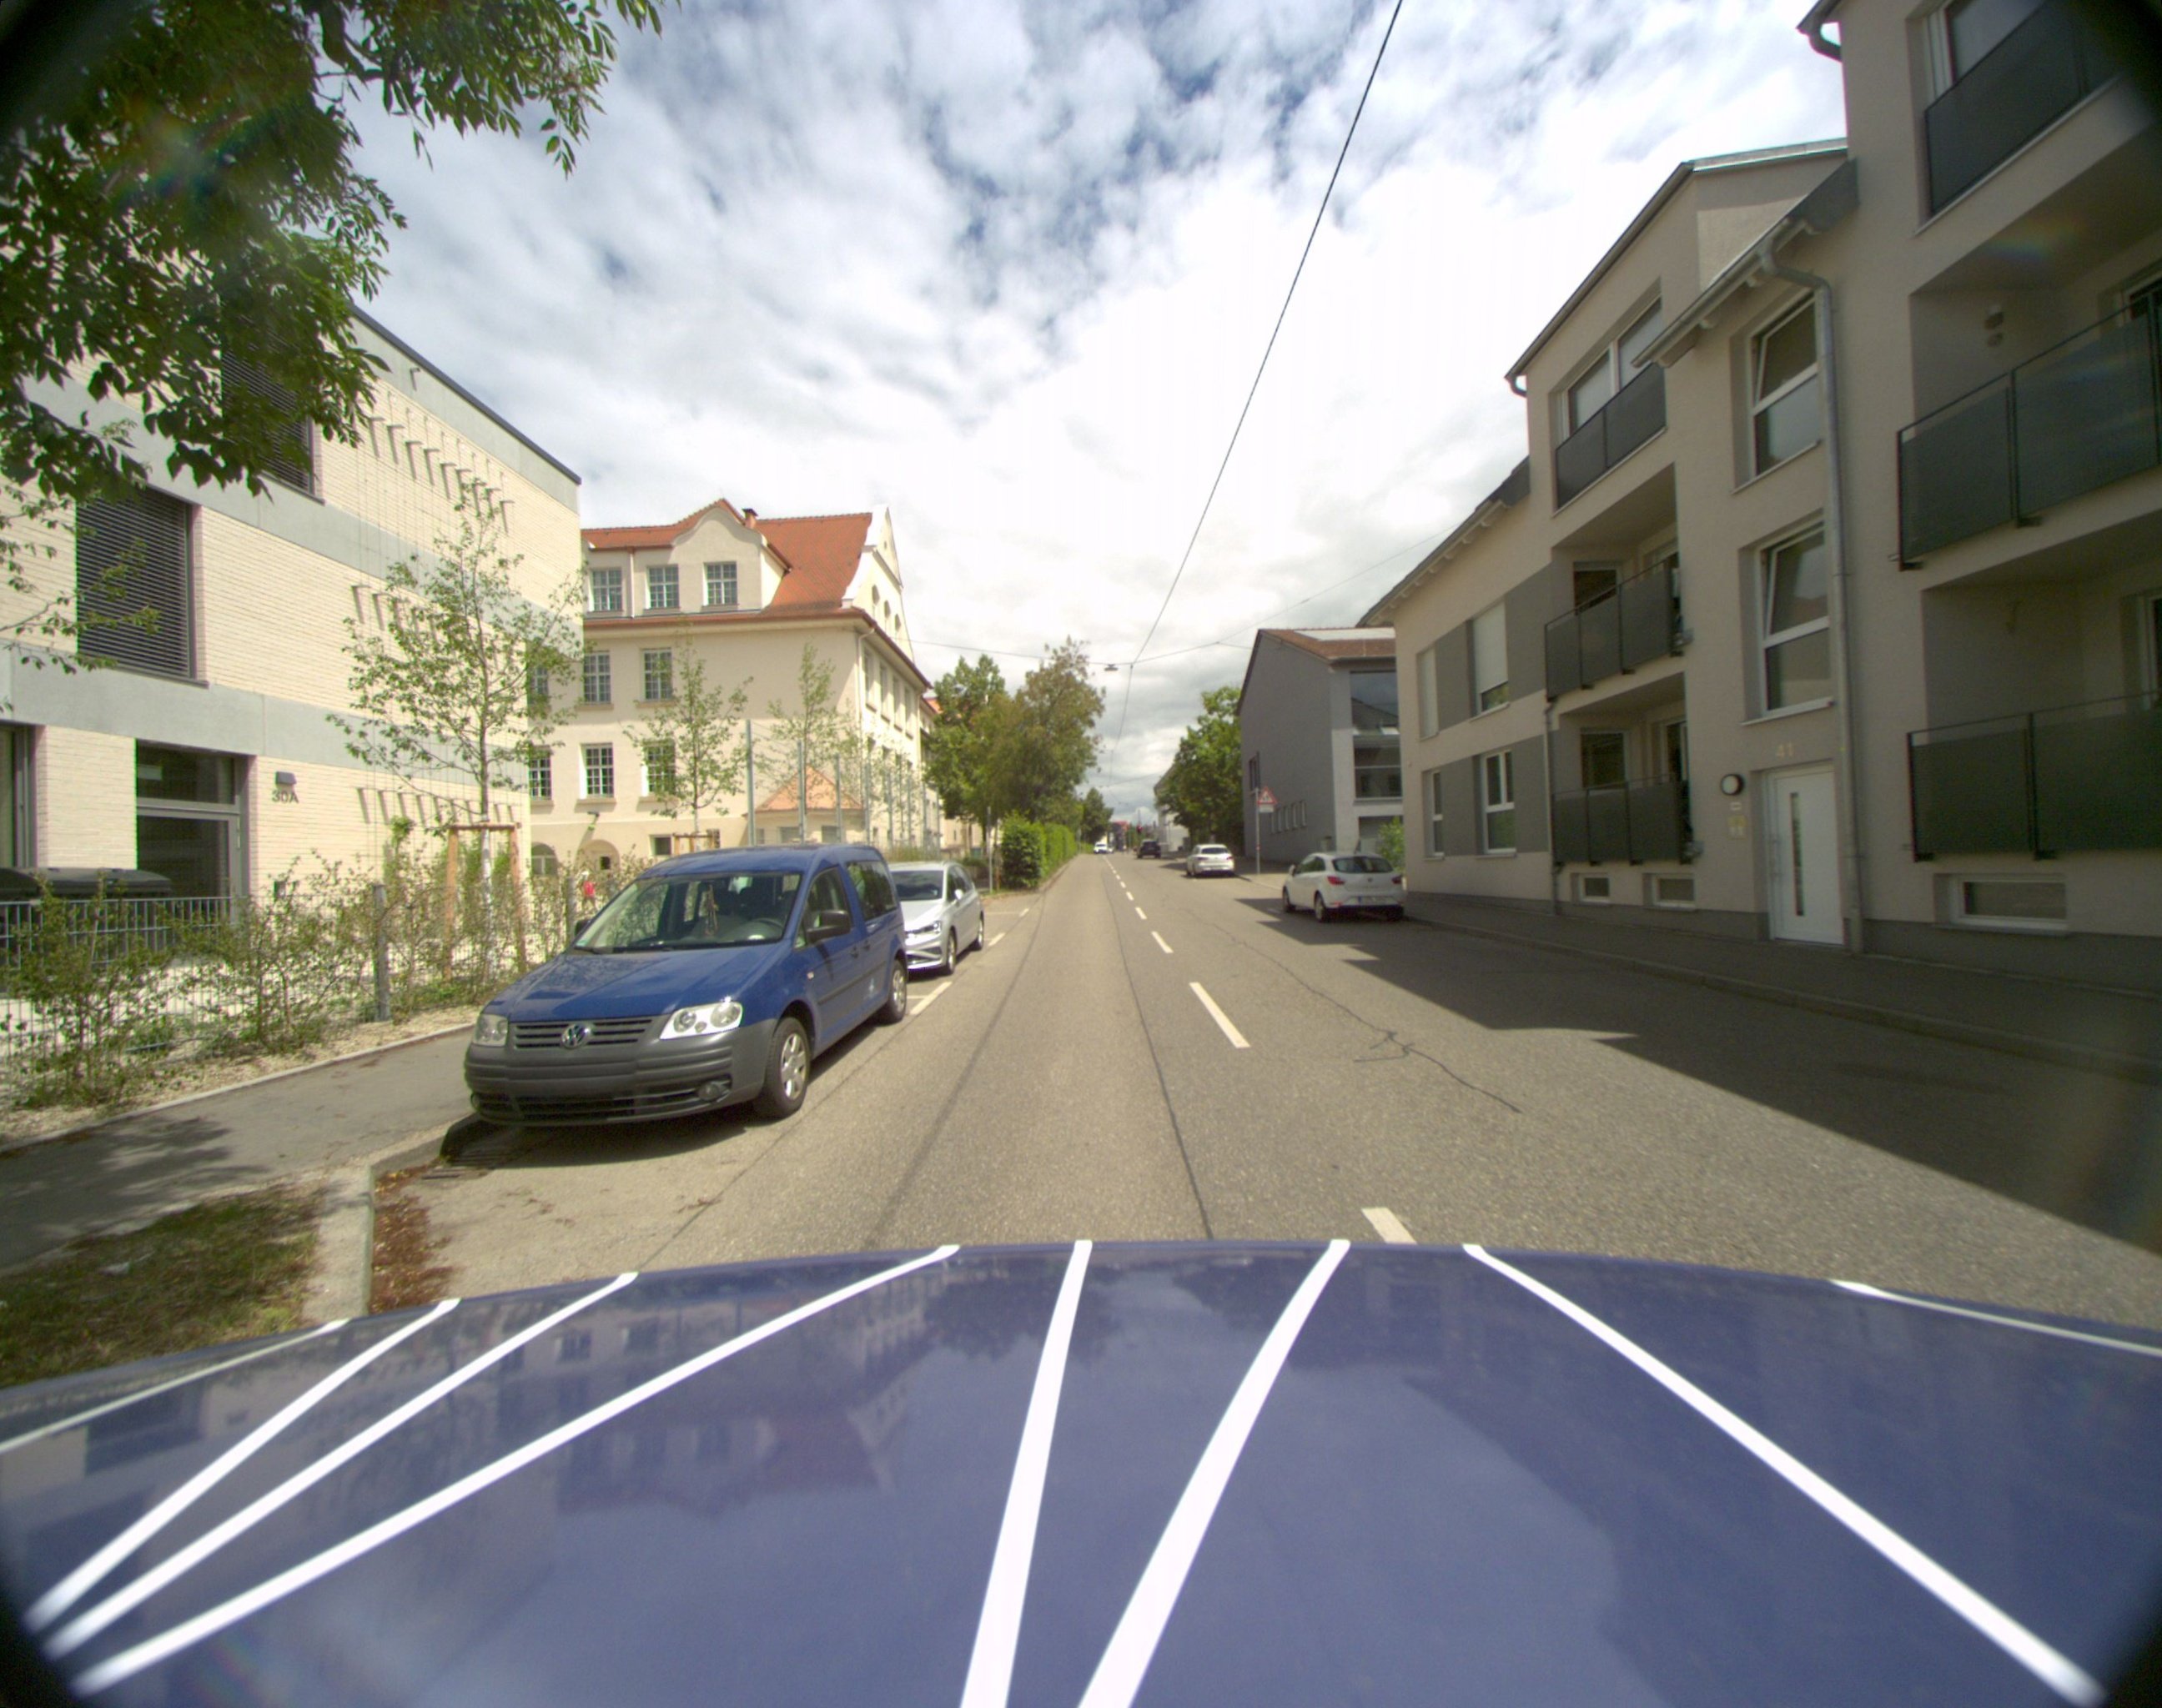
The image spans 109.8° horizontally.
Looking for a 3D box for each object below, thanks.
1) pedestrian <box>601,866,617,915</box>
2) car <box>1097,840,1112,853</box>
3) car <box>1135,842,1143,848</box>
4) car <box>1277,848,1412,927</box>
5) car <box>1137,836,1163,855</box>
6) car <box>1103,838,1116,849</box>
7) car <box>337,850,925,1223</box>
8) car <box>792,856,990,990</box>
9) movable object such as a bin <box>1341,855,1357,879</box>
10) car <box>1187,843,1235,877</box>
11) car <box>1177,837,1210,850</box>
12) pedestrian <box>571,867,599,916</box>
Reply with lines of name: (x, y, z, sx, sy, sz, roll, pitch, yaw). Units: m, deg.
pedestrian: (-14.152, 1.085, 22.783, 0.295, 1.457, 0.247, -3, 1, -13)
car: (3.367, -1.089, 109.808, 1.893, 1.718, 4.294, -2, 1, 4)
car: (14.708, -2.289, 191.565, 1.794, 1.477, 4.002, -3, -1, 7)
car: (5.579, 0.639, 16.535, 1.651, 1.410, 3.698, -3, 1, 1)
car: (6.084, -0.758, 67.319, 1.800, 1.601, 4.645, -2, 0, -1)
car: (4.555, -1.666, 120.672, 1.794, 1.477, 4.002, -3, -1, 7)
car: (-2.722, 0.916, 6.075, 1.849, 1.757, 4.514, -3, 1, 1)
car: (-2.615, 0.865, 11.598, 1.790, 1.500, 4.364, -3, 1, 1)
movable object such as a bin: (10.380, 0.495, 29.446, 0.455, 0.924, 0.399, -1, 2, 0)
car: (5.807, 0.262, 34.265, 1.701, 1.382, 3.867, -2, 0, 4)
car: (14.603, -1.337, 98.629, 3.997, 1.468, 1.859, -2, -1, 1)
pedestrian: (-15.232, 1.144, 23.345, 0.544, 1.457, 0.364, -3, 1, -13)
